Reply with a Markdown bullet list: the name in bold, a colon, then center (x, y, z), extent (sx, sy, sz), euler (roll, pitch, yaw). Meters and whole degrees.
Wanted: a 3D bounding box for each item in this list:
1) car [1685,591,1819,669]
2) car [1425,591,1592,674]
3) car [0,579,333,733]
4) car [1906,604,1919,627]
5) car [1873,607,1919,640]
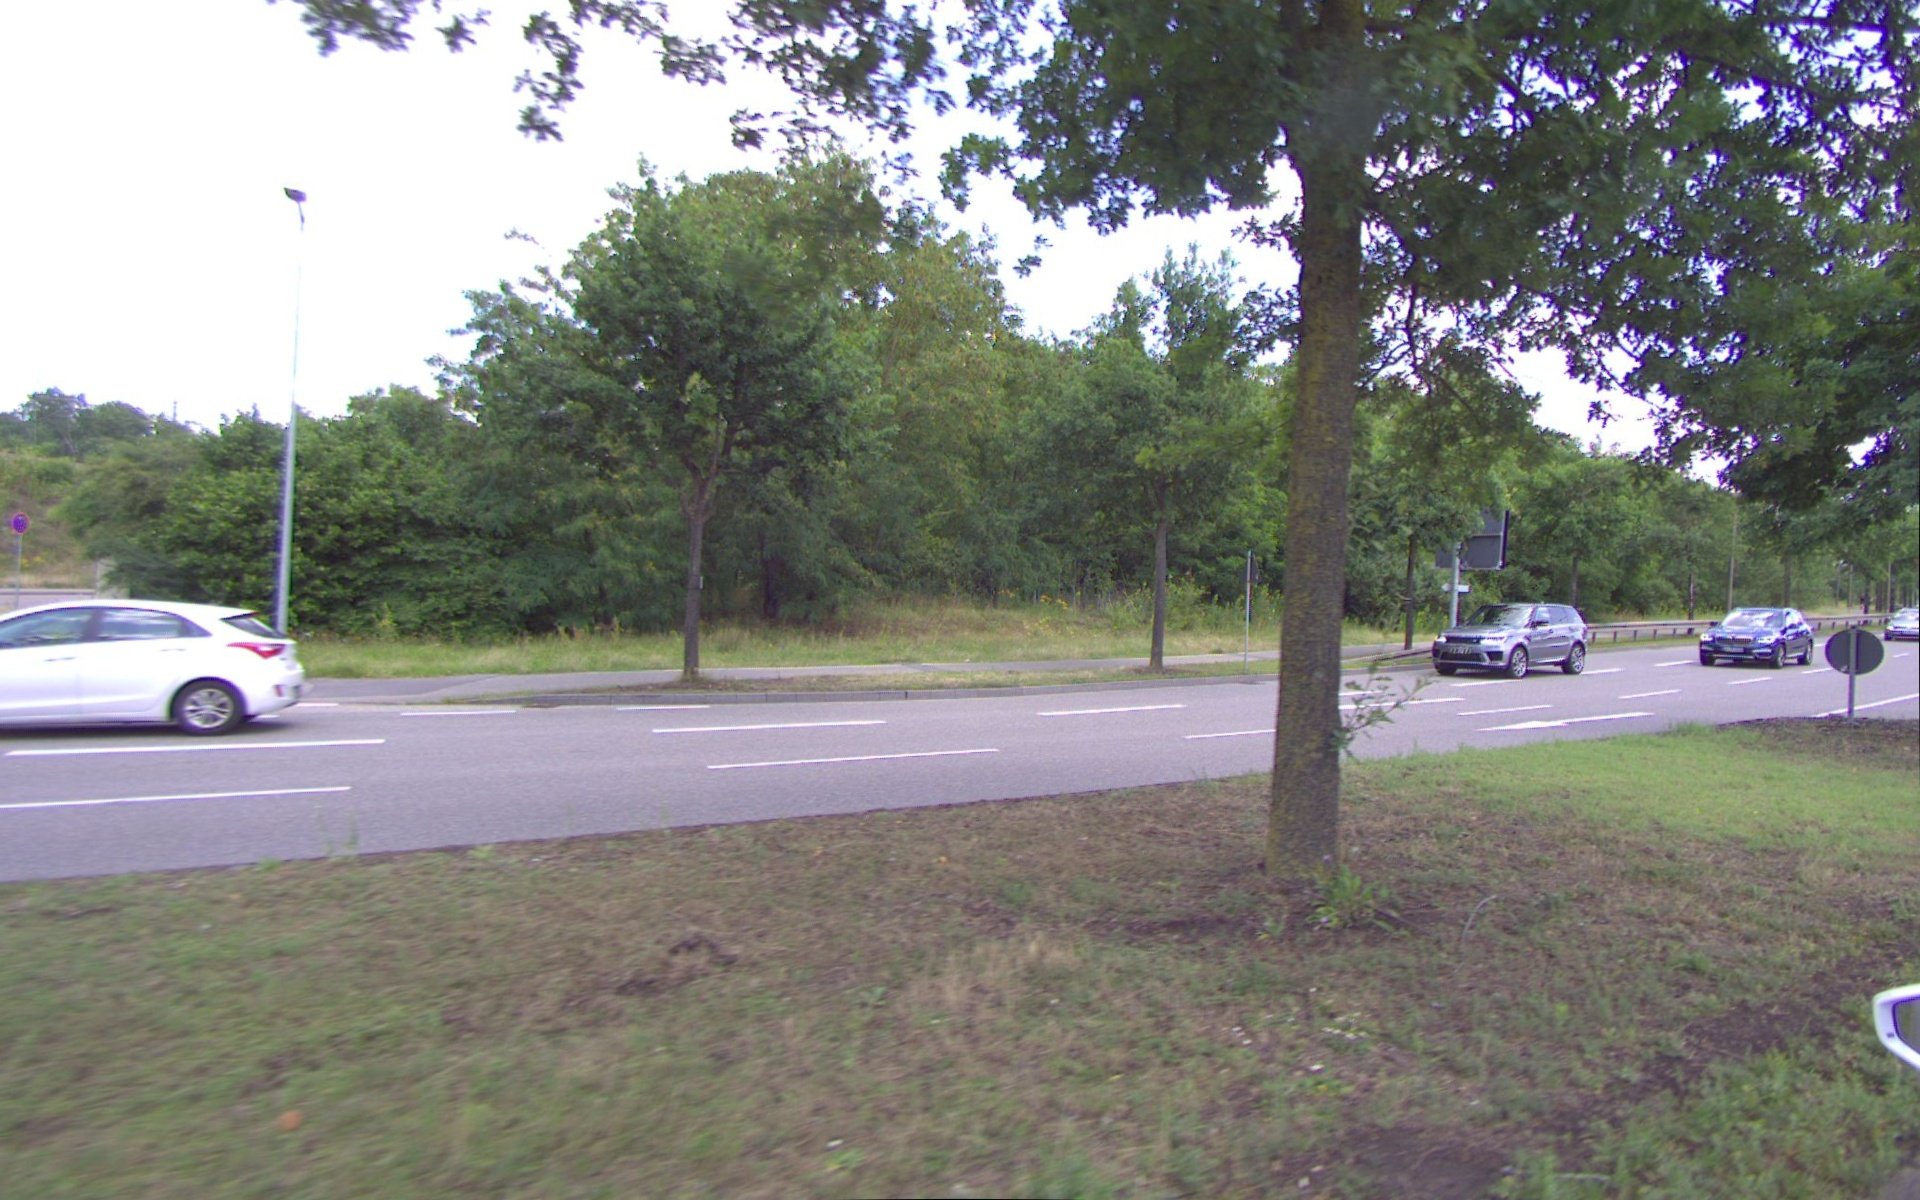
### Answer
- **car**: center (23.220, 0.800, 29.406), extent (4.773, 2.041, 1.978), euler (-1, 2, -38)
- **car**: center (13.862, 0.800, 25.296), extent (4.673, 1.886, 1.978), euler (2, 0, -38)
- **car**: center (-9.699, 0.599, 11.317), extent (4.278, 1.552, 1.985), euler (2, -2, -28)
- **car**: center (89.954, 1.438, 93.797), extent (4.524, 2.041, 1.975), euler (0, 3, -42)
- **car**: center (43.550, 1.052, 45.832), extent (4.656, 1.415, 1.978), euler (0, 1, -38)
